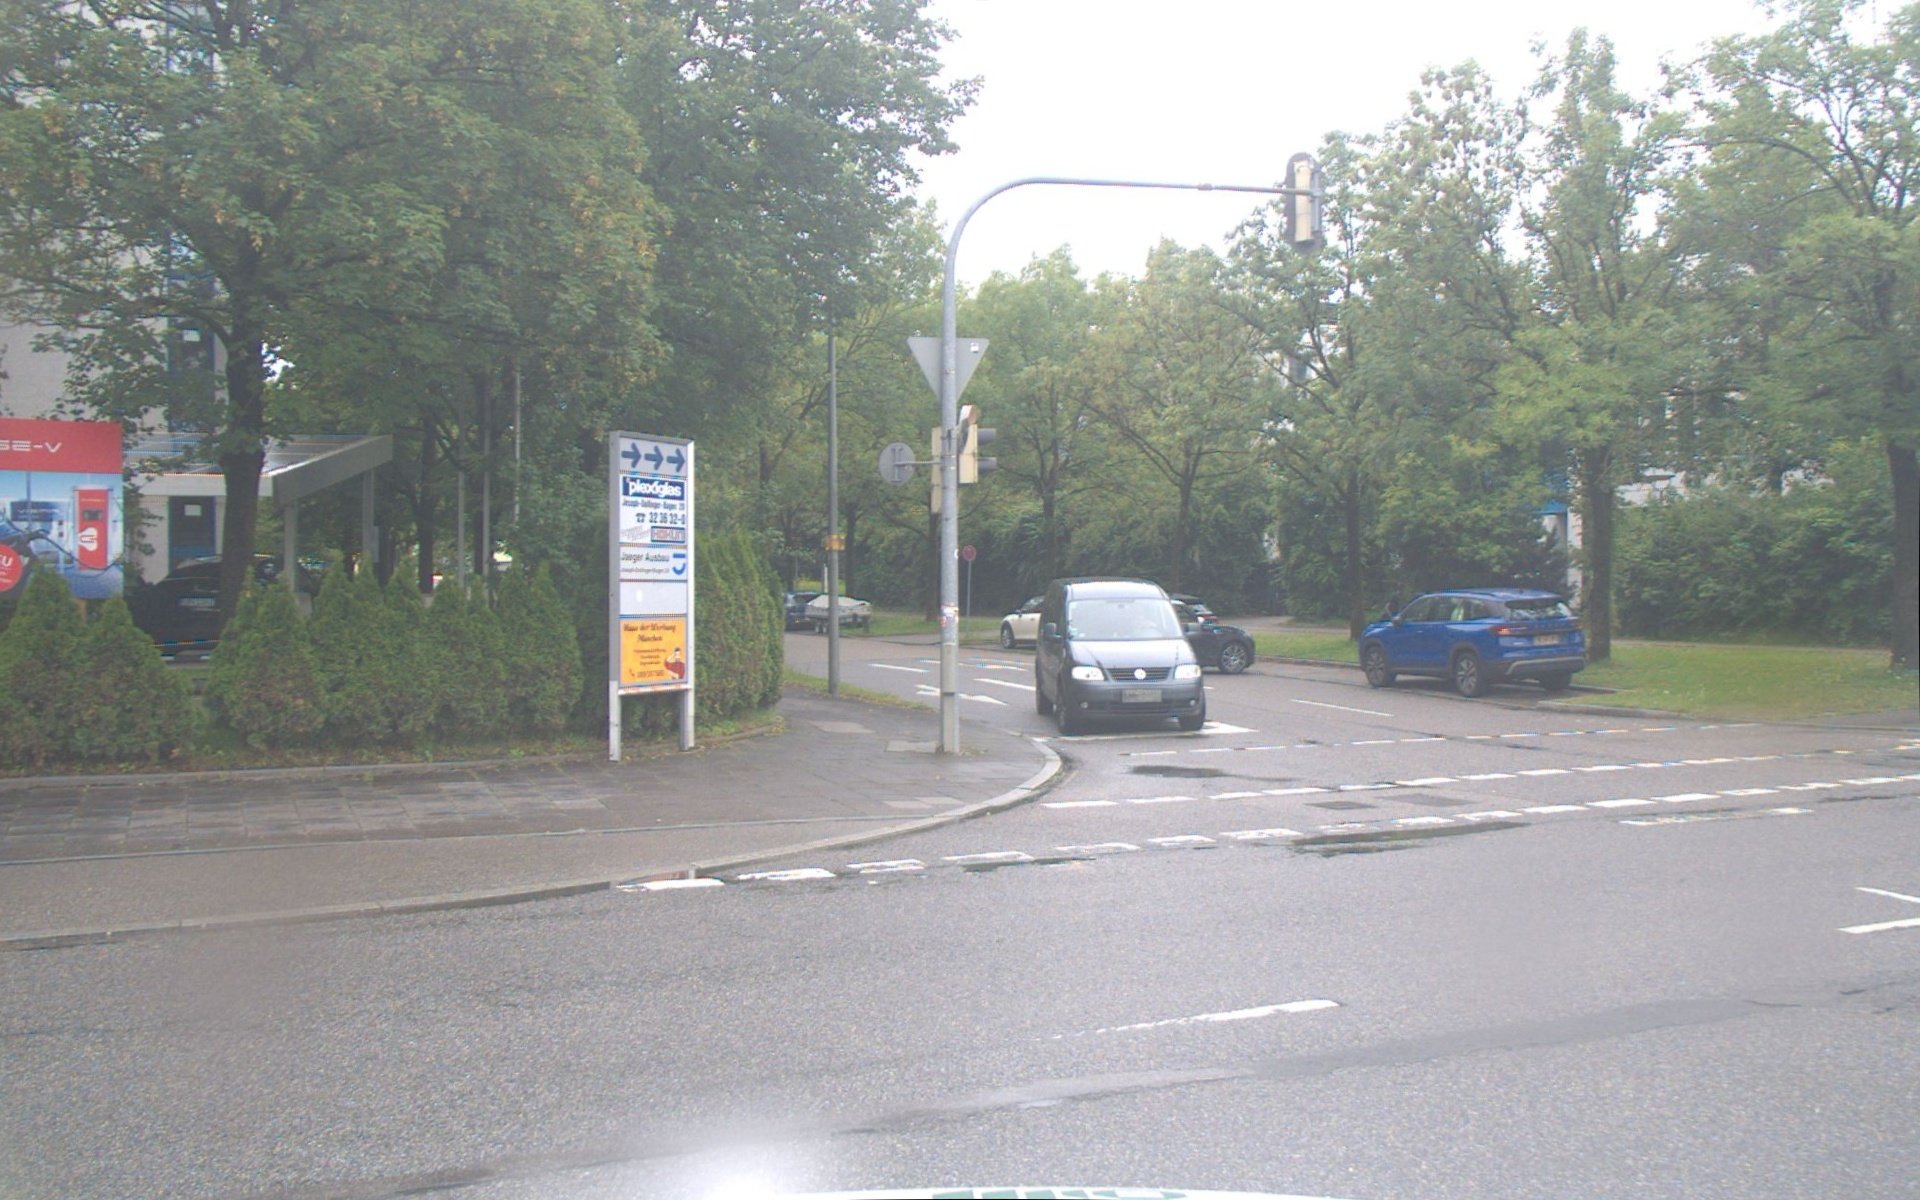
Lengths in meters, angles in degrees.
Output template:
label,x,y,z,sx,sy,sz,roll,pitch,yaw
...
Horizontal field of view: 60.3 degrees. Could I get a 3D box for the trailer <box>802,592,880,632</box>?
label,x,y,z,sx,sy,sz,roll,pitch,yaw
trailer,-4.243,0.407,58.812,1.535,1.284,3.391,-1,2,-28

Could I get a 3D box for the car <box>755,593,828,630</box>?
label,x,y,z,sx,sy,sz,roll,pitch,yaw
car,-6.403,0.410,62.606,1.536,1.284,3.389,-1,2,-30

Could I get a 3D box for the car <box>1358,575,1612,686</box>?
label,x,y,z,sx,sy,sz,roll,pitch,yaw
car,8.593,0.469,27.505,1.962,1.602,4.263,-3,0,-16

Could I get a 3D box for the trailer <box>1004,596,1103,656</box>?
label,x,y,z,sx,sy,sz,roll,pitch,yaw
trailer,2.443,0.659,43.942,1.426,1.438,3.322,0,2,-21

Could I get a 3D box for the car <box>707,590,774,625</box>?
label,x,y,z,sx,sy,sz,roll,pitch,yaw
car,-8.908,0.292,66.883,1.536,1.284,3.389,-1,2,-30

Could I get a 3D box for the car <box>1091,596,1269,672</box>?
label,x,y,z,sx,sy,sz,roll,pitch,yaw
car,4.371,0.655,33.081,3.209,1.469,1.662,0,0,-9

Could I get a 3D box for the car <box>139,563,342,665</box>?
label,x,y,z,sx,sy,sz,roll,pitch,yaw
car,-11.057,0.152,25.739,1.829,1.443,4.169,0,2,-8

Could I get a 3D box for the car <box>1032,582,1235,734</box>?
label,x,y,z,sx,sy,sz,roll,pitch,yaw
car,2.106,0.680,21.470,1.953,1.753,4.788,0,0,-2

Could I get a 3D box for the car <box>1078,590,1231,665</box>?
label,x,y,z,sx,sy,sz,roll,pitch,yaw
car,4.511,0.624,38.951,1.733,1.602,4.136,-3,0,-23

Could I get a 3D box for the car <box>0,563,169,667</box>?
label,x,y,z,sx,sy,sz,roll,pitch,yaw
car,-13.714,0.163,25.182,1.829,1.443,4.169,0,2,-8
